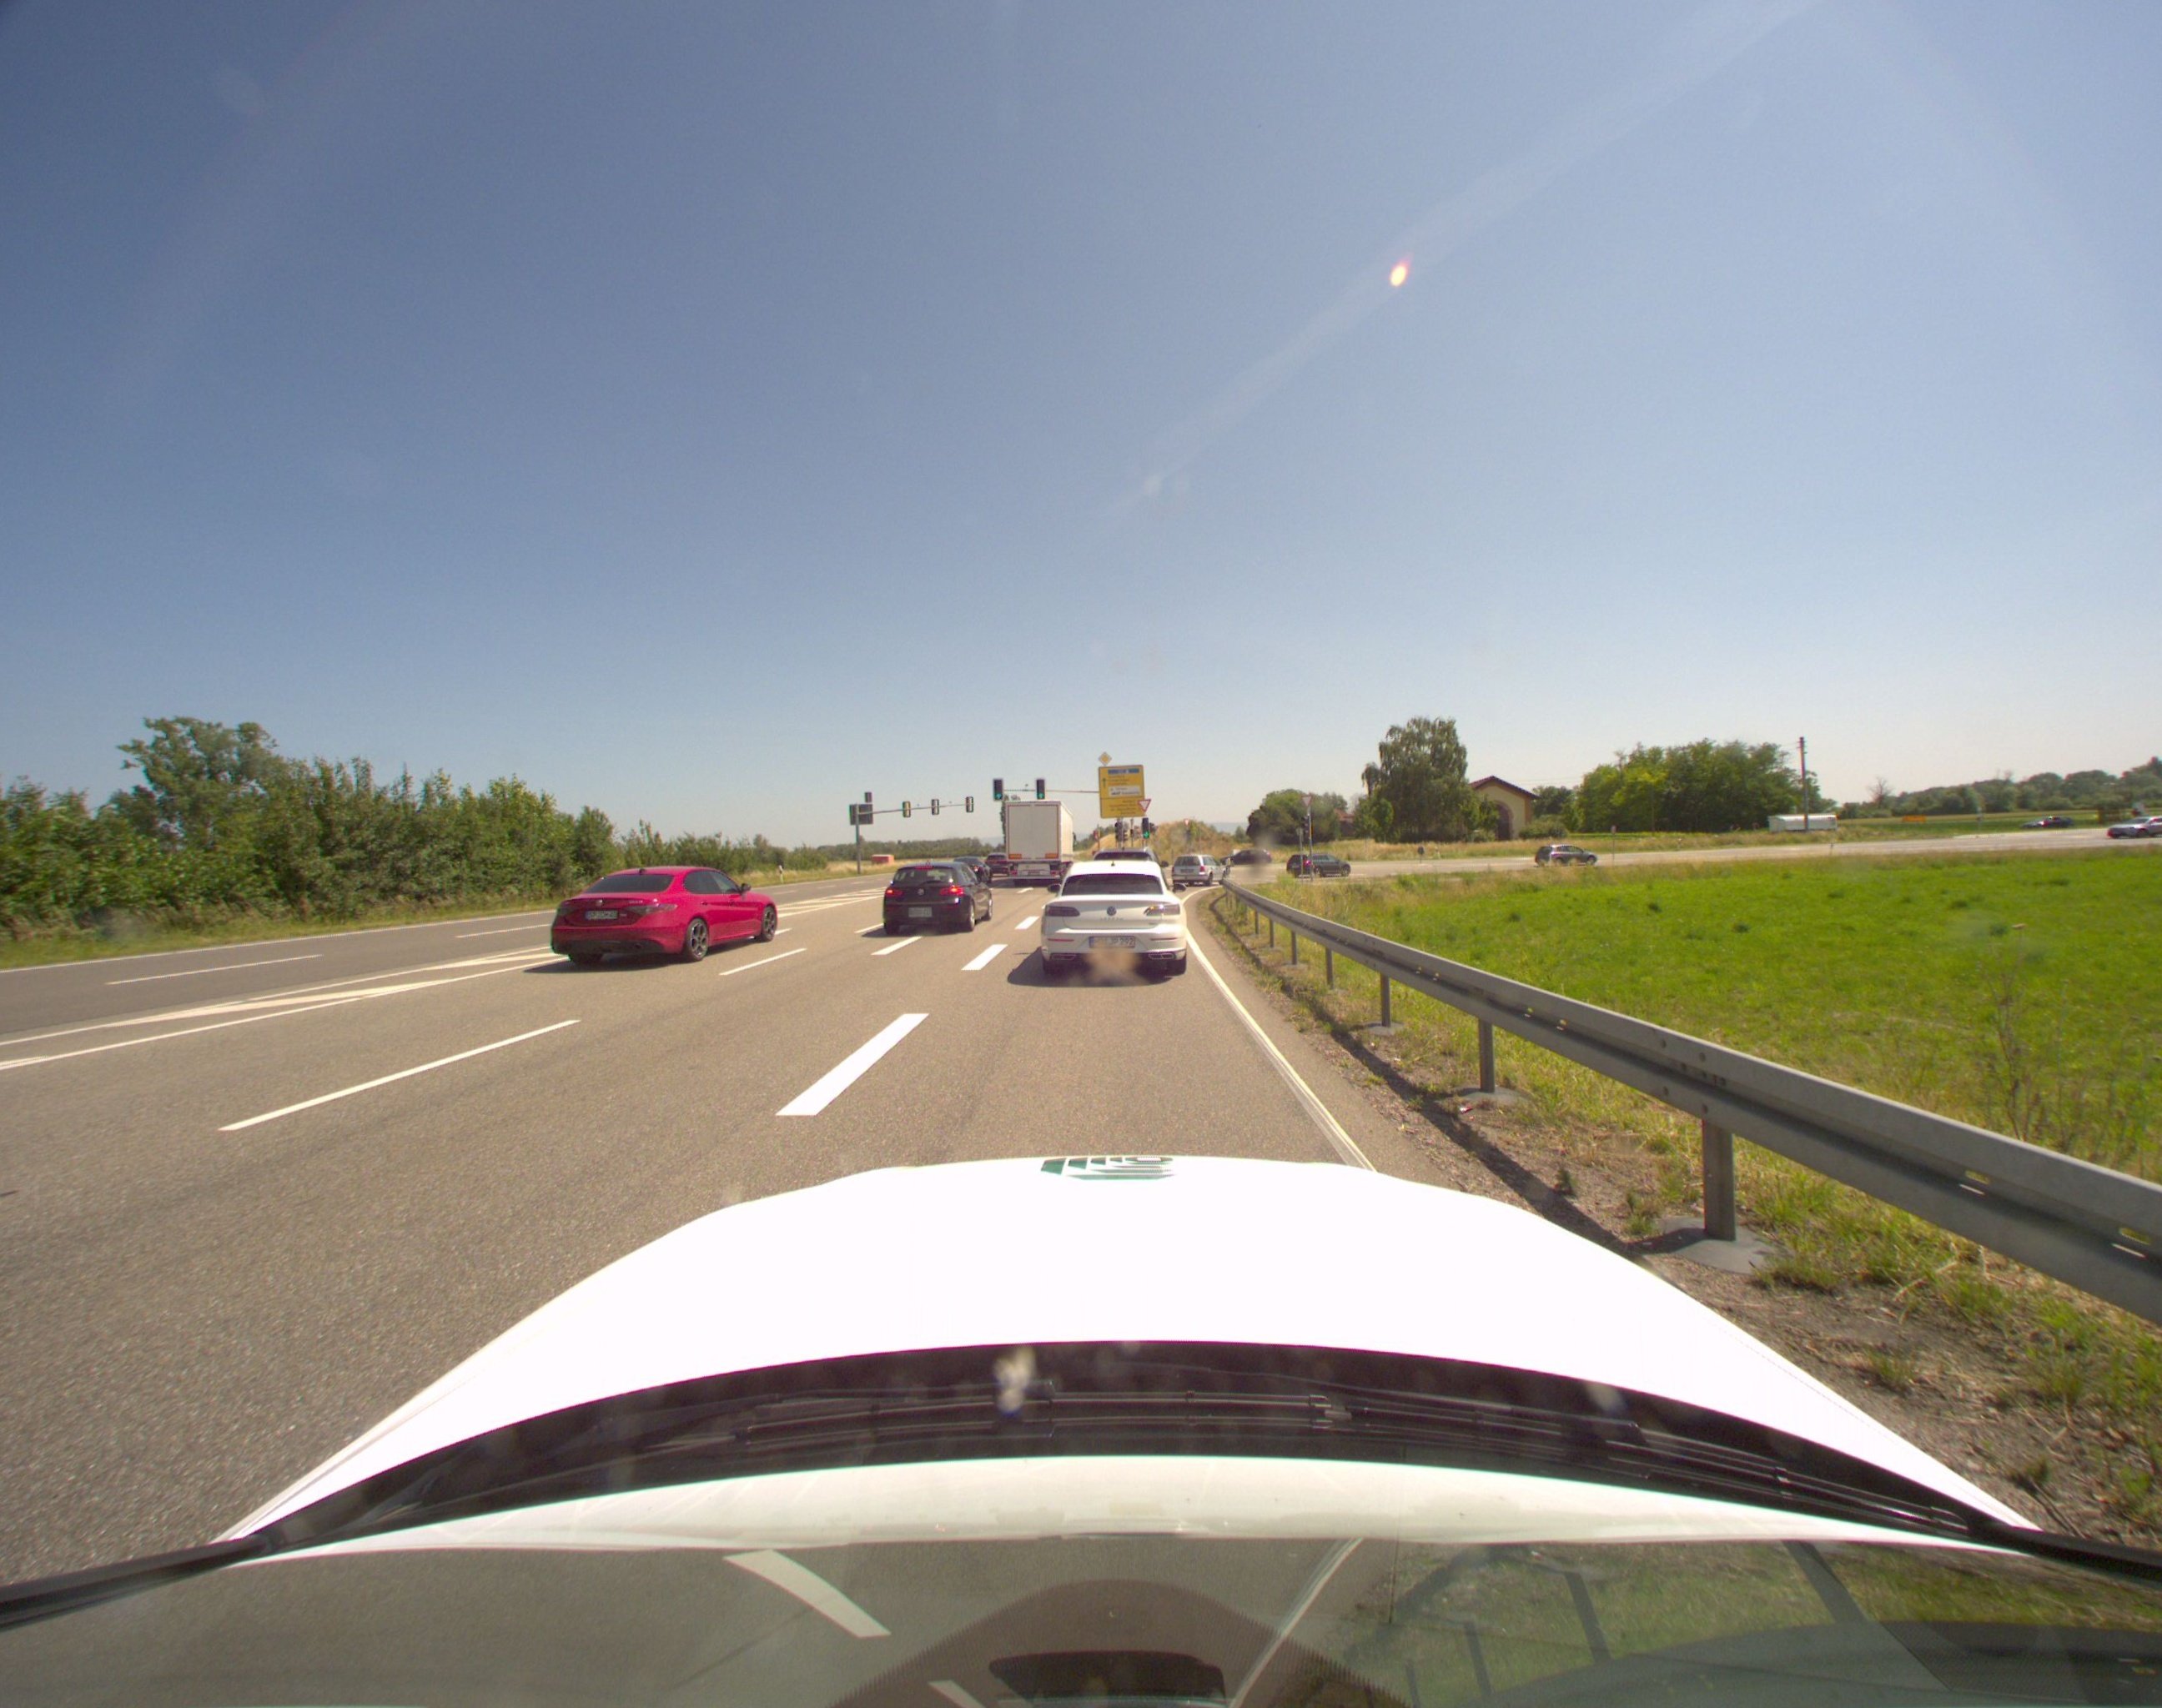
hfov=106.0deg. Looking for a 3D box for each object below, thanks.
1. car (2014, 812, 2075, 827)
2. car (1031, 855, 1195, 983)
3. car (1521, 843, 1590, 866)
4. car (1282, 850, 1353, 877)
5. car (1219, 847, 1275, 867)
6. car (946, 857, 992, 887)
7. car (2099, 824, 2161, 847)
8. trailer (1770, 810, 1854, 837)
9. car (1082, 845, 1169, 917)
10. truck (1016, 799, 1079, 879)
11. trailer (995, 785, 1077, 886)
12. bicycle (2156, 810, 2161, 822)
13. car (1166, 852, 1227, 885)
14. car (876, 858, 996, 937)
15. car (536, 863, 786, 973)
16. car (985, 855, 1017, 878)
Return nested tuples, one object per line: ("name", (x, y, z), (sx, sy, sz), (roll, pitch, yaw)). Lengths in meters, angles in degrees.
("car", (97.361, -3.495, 82.354), (3.803, 1.387, 1.684), (-2, 2, 9))
("car", (0.442, 0.758, 11.618), (1.841, 1.433, 4.610), (-1, 0, 2))
("car", (32.135, 0.039, 55.165), (3.873, 1.522, 1.798), (-1, -1, -12))
("car", (14.005, 0.531, 48.202), (4.436, 1.476, 1.785), (-1, -1, -38))
("car", (13.515, 0.214, 66.572), (4.240, 1.368, 1.778), (-3, 1, 4))
("car", (-5.647, 0.879, 41.537), (1.803, 1.398, 4.020), (-1, 0, 0))
("car", (79.173, -1.392, 60.686), (4.525, 1.543, 1.870), (-3, 1, -3))
("trailer", (78.230, -3.261, 87.291), (6.330, 2.455, 2.691), (-3, 1, 6))
("car", (1.254, 0.638, 20.796), (1.925, 1.616, 4.386), (-1, 0, 6))
("truck", (-1.923, -0.848, 49.842), (3.368, 4.542, 6.375), (-1, 0, 2))
("trailer", (-2.074, -0.839, 43.356), (3.369, 4.542, 12.874), (-1, 0, 1))
("bicycle", (121.324, -4.262, 90.168), (0.899, 1.372, 2.608), (0, -1, -9))
("car", (5.329, 0.641, 37.215), (1.784, 1.429, 4.115), (-1, 0, 22))
("car", (-2.983, 0.830, 17.617), (1.778, 1.430, 4.380), (-1, 0, 0))
("car", (-6.636, 0.912, 13.542), (1.743, 1.421, 4.566), (-1, 0, 0))
("car", (-5.463, 0.825, 56.033), (1.803, 1.493, 4.020), (-1, 0, 0))
